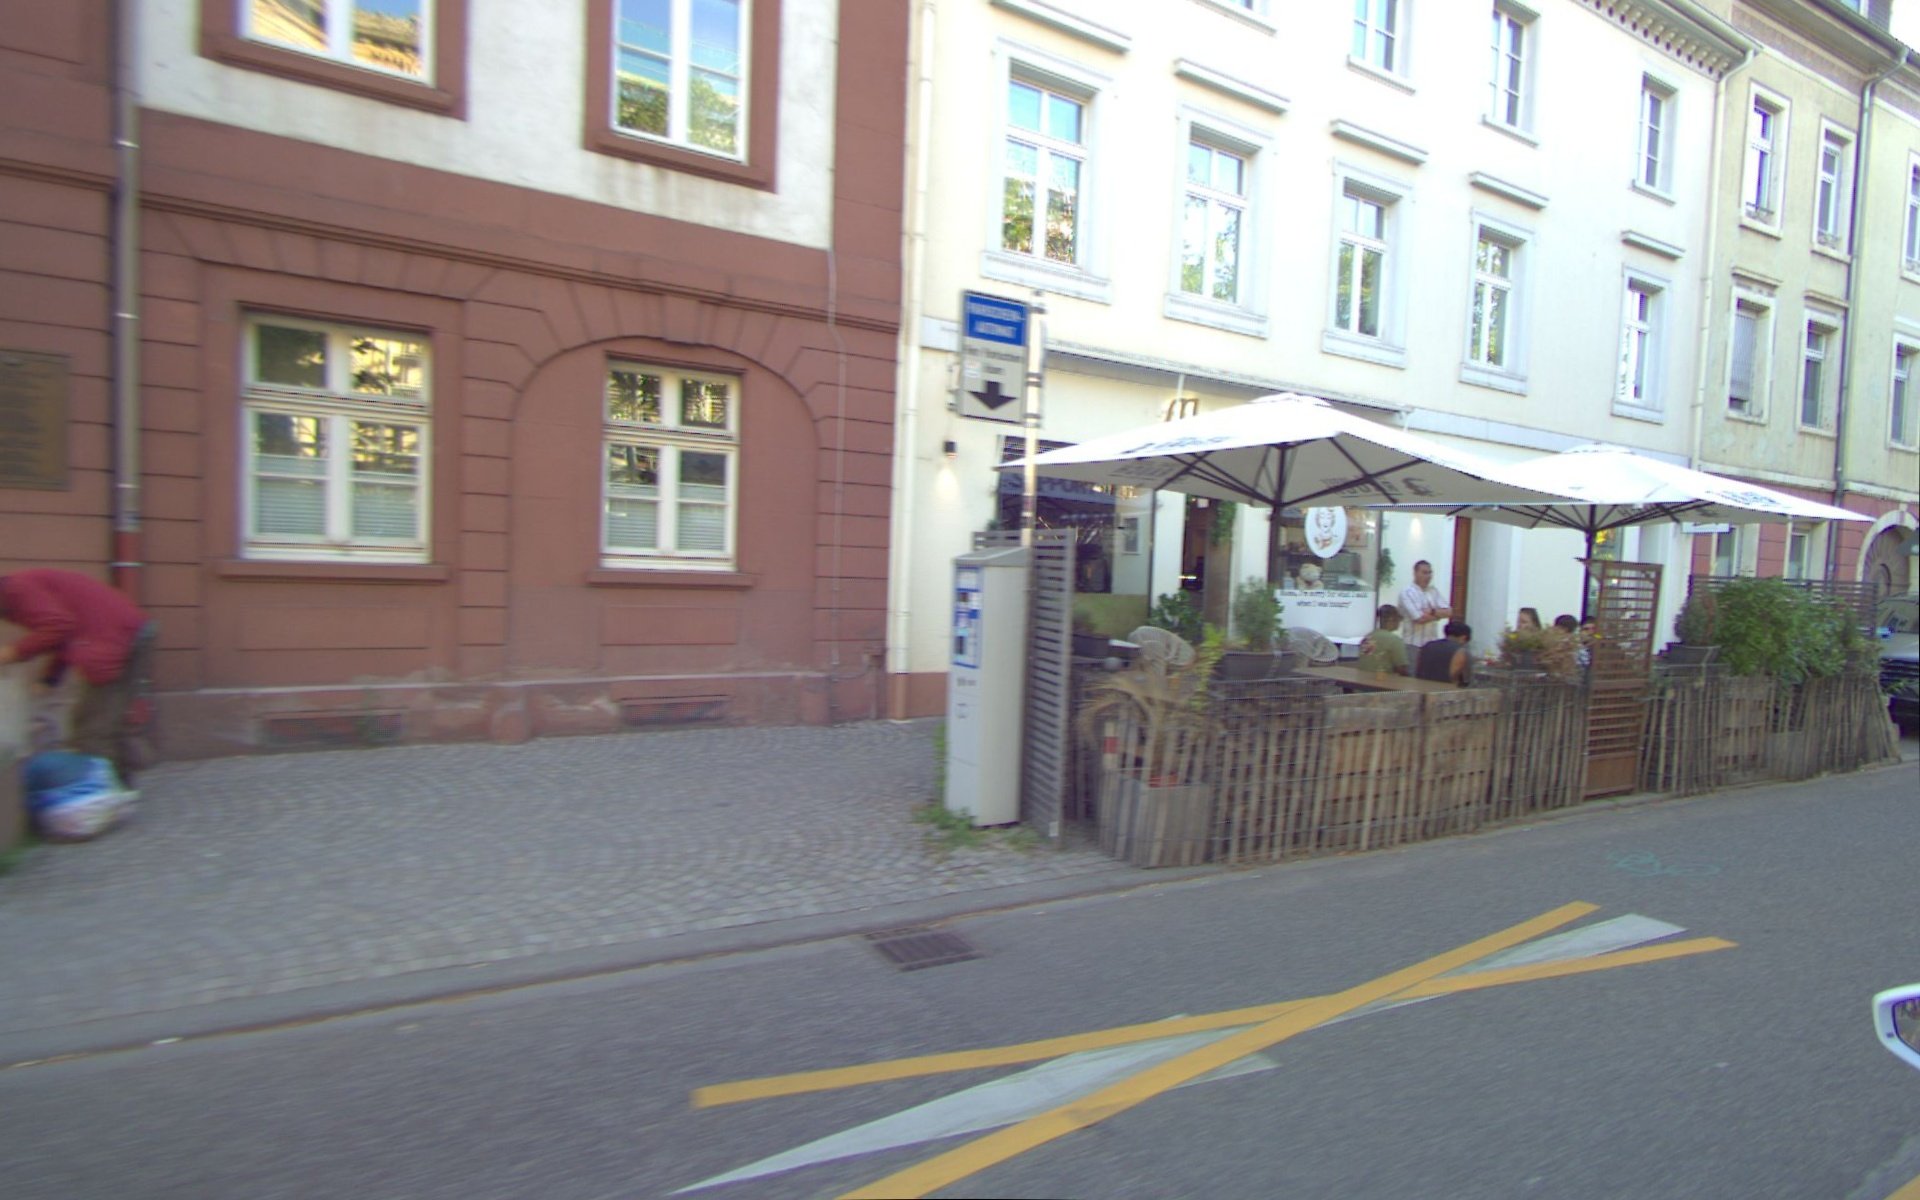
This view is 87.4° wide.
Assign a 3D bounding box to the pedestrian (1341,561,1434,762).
[{"bbox_3d":[3.979,0.549,9.369,0.432,1.799,0.594,1,2,-21],"label":"pedestrian"}]

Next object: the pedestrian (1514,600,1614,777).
[{"bbox_3d":[5.211,0.744,8.676,0.495,1.452,0.469,1,3,-25],"label":"pedestrian"}]

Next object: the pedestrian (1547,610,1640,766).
[{"bbox_3d":[6.008,0.813,9.534,0.483,1.410,0.520,1,3,-32],"label":"pedestrian"}]

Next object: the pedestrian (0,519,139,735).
[{"bbox_3d":[-4.705,0.122,5.278,0.546,1.067,0.533,1,4,-34],"label":"pedestrian"}]

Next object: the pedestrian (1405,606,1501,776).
[{"bbox_3d":[4.330,0.773,8.827,0.483,1.410,0.520,1,3,-32],"label":"pedestrian"}]

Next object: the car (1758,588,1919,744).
[{"bbox_3d":[12.581,0.781,12.864,4.724,1.702,1.914,1,2,-28],"label":"car"}]

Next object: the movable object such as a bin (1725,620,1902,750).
[{"bbox_3d":[9.659,0.923,11.405,0.917,1.313,1.212,1,2,-24],"label":"movable object such as a bin"}]

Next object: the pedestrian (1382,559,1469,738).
[{"bbox_3d":[4.790,0.486,10.353,0.588,1.799,0.437,1,2,-17],"label":"pedestrian"}]

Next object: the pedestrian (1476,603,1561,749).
[{"bbox_3d":[5.648,0.746,10.172,0.483,1.410,0.520,1,3,-32],"label":"pedestrian"}]
